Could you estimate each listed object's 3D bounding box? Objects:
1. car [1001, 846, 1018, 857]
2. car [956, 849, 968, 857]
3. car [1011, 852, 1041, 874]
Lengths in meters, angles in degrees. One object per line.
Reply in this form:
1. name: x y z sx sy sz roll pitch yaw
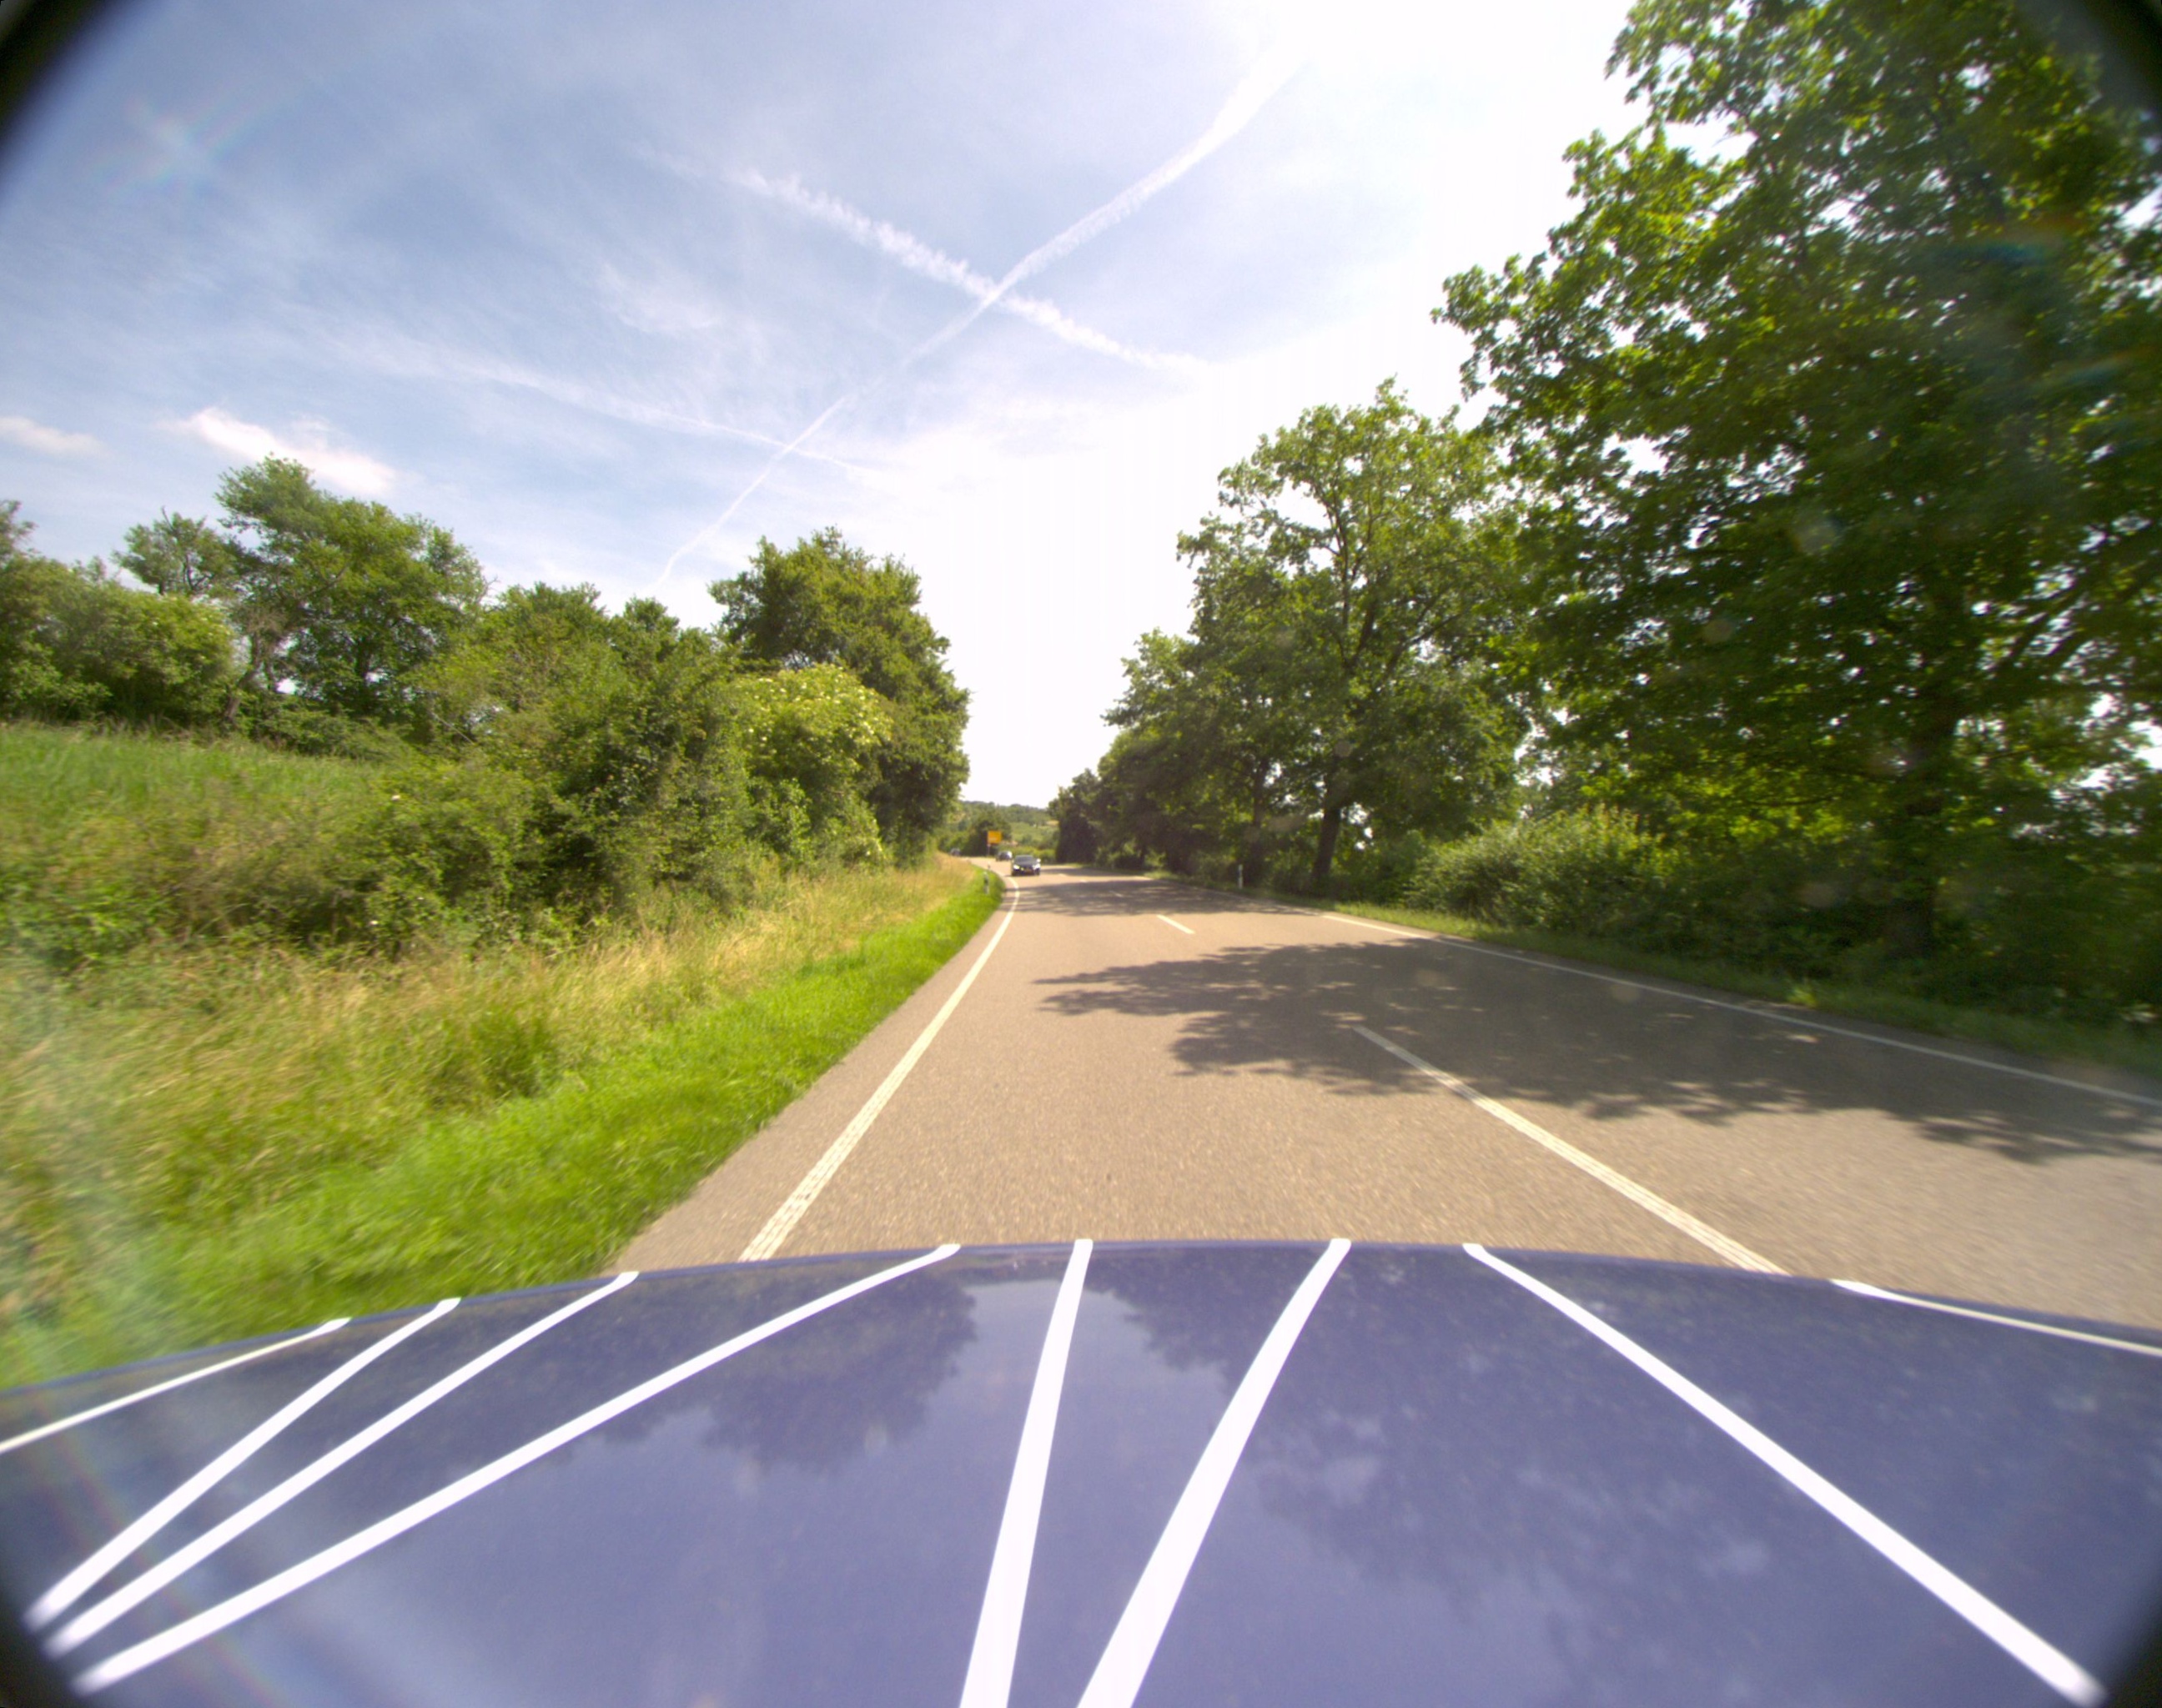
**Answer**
1. car: -9.774 -0.343 103.610 1.765 1.424 4.264 -1 1 -12
2. car: -21.558 -0.199 137.335 1.676 1.522 3.952 -1 0 -16
3. car: -3.896 0.612 53.037 1.786 1.440 4.601 -1 0 -8
